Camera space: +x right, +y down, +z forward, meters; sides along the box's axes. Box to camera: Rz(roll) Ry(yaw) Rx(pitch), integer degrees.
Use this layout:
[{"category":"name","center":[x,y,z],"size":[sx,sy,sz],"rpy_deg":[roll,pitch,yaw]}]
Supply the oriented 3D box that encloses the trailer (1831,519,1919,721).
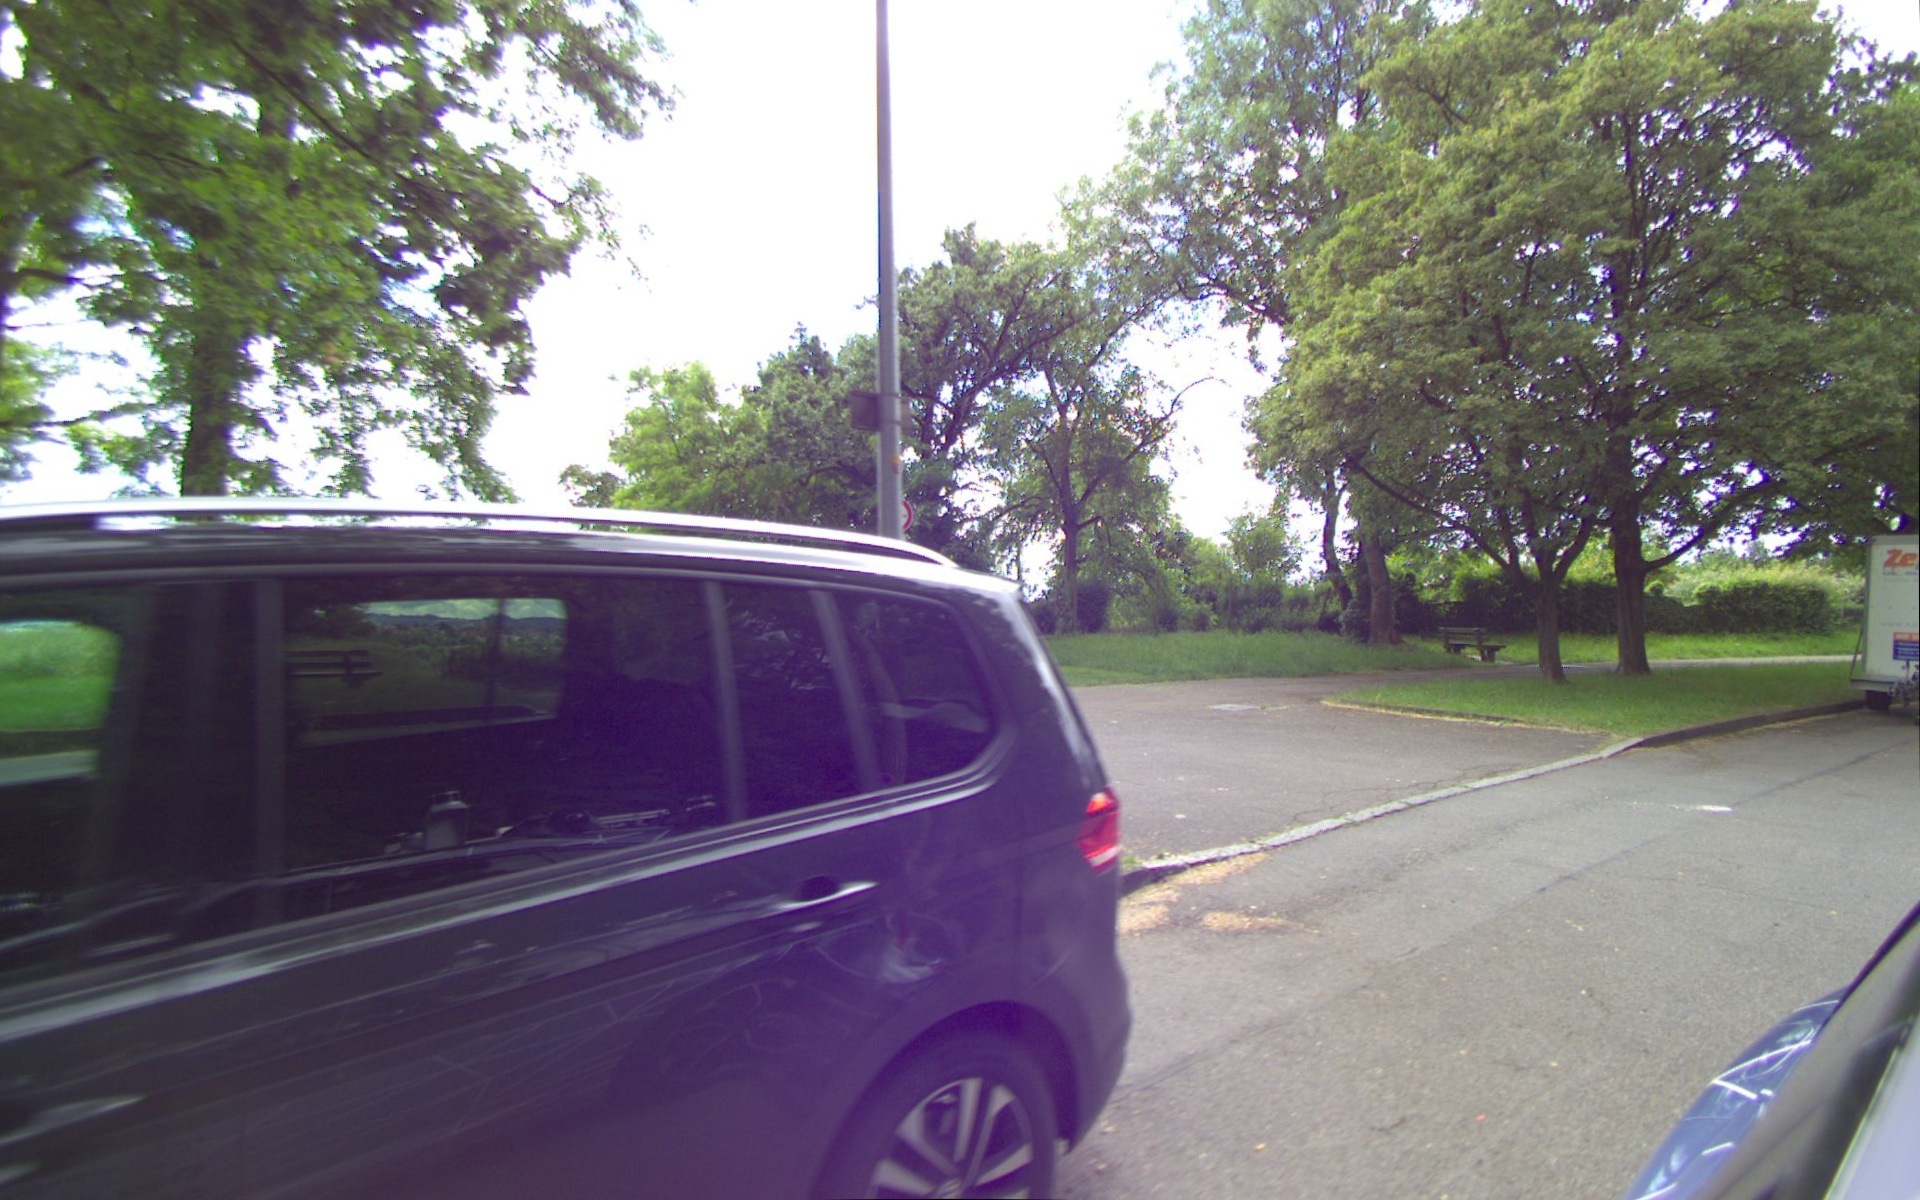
[{"category":"trailer","center":[13.337,0.237,13.390],"size":[3.812,2.457,1.767],"rpy_deg":[0,1,-34]}]

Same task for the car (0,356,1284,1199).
[{"category":"car","center":[-1.539,0.600,1.773],"size":[4.756,1.684,1.778],"rpy_deg":[-1,-1,-41]}]
